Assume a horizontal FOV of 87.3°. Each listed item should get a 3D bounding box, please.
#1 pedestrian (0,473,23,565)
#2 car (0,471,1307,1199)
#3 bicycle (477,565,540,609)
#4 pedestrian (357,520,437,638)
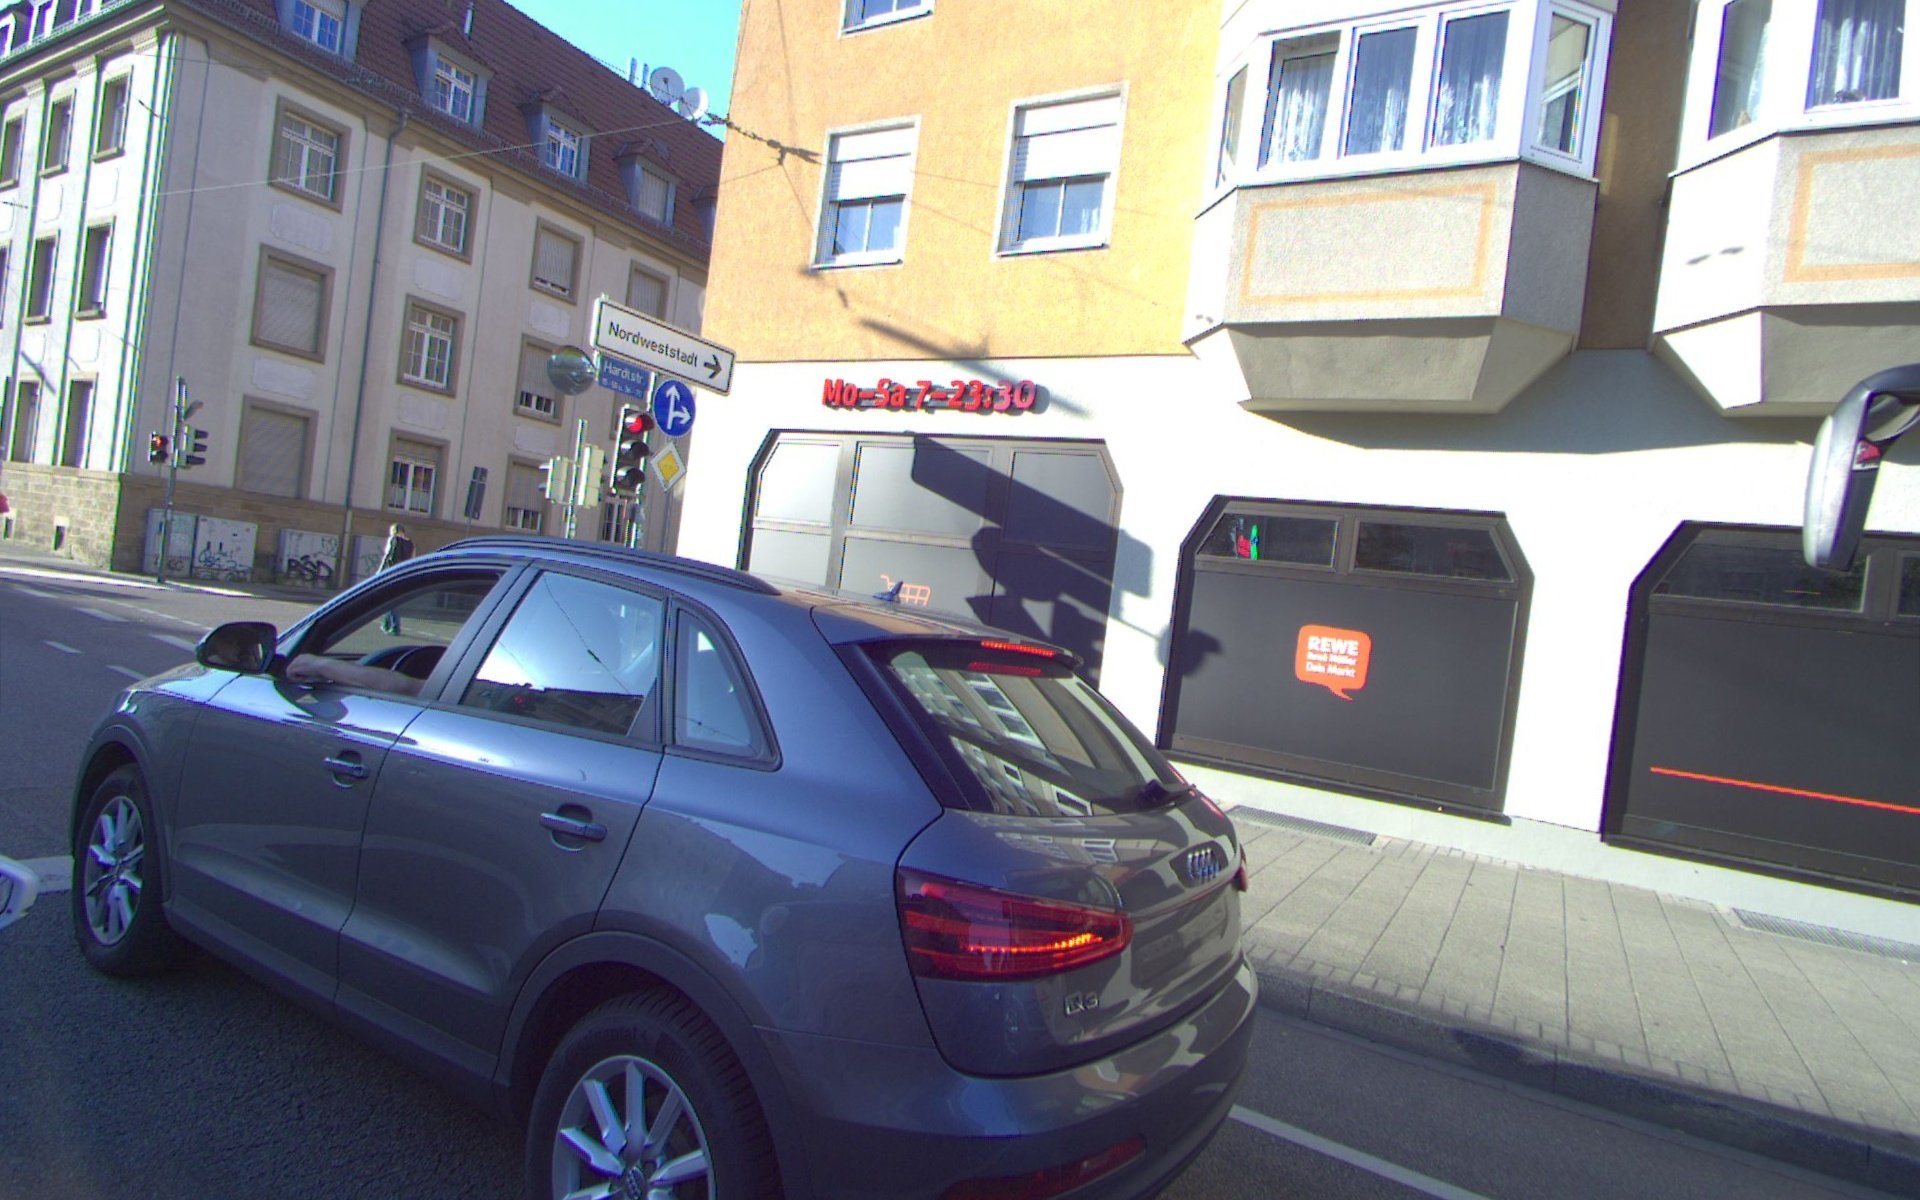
[{"bbox_3d":[-19.436,-1.663,19.992,0.810,1.783,0.837,6,-1,31],"label":"pedestrian"},{"bbox_3d":[-1.268,0.609,3.311,4.155,1.570,1.701,7,-2,32],"label":"car"},{"bbox_3d":[-12.521,-0.344,27.915,1.499,1.029,0.247,9,-2,-43],"label":"bicycle"},{"bbox_3d":[-9.108,-0.332,16.274,0.812,1.778,0.630,6,-1,32],"label":"pedestrian"}]
